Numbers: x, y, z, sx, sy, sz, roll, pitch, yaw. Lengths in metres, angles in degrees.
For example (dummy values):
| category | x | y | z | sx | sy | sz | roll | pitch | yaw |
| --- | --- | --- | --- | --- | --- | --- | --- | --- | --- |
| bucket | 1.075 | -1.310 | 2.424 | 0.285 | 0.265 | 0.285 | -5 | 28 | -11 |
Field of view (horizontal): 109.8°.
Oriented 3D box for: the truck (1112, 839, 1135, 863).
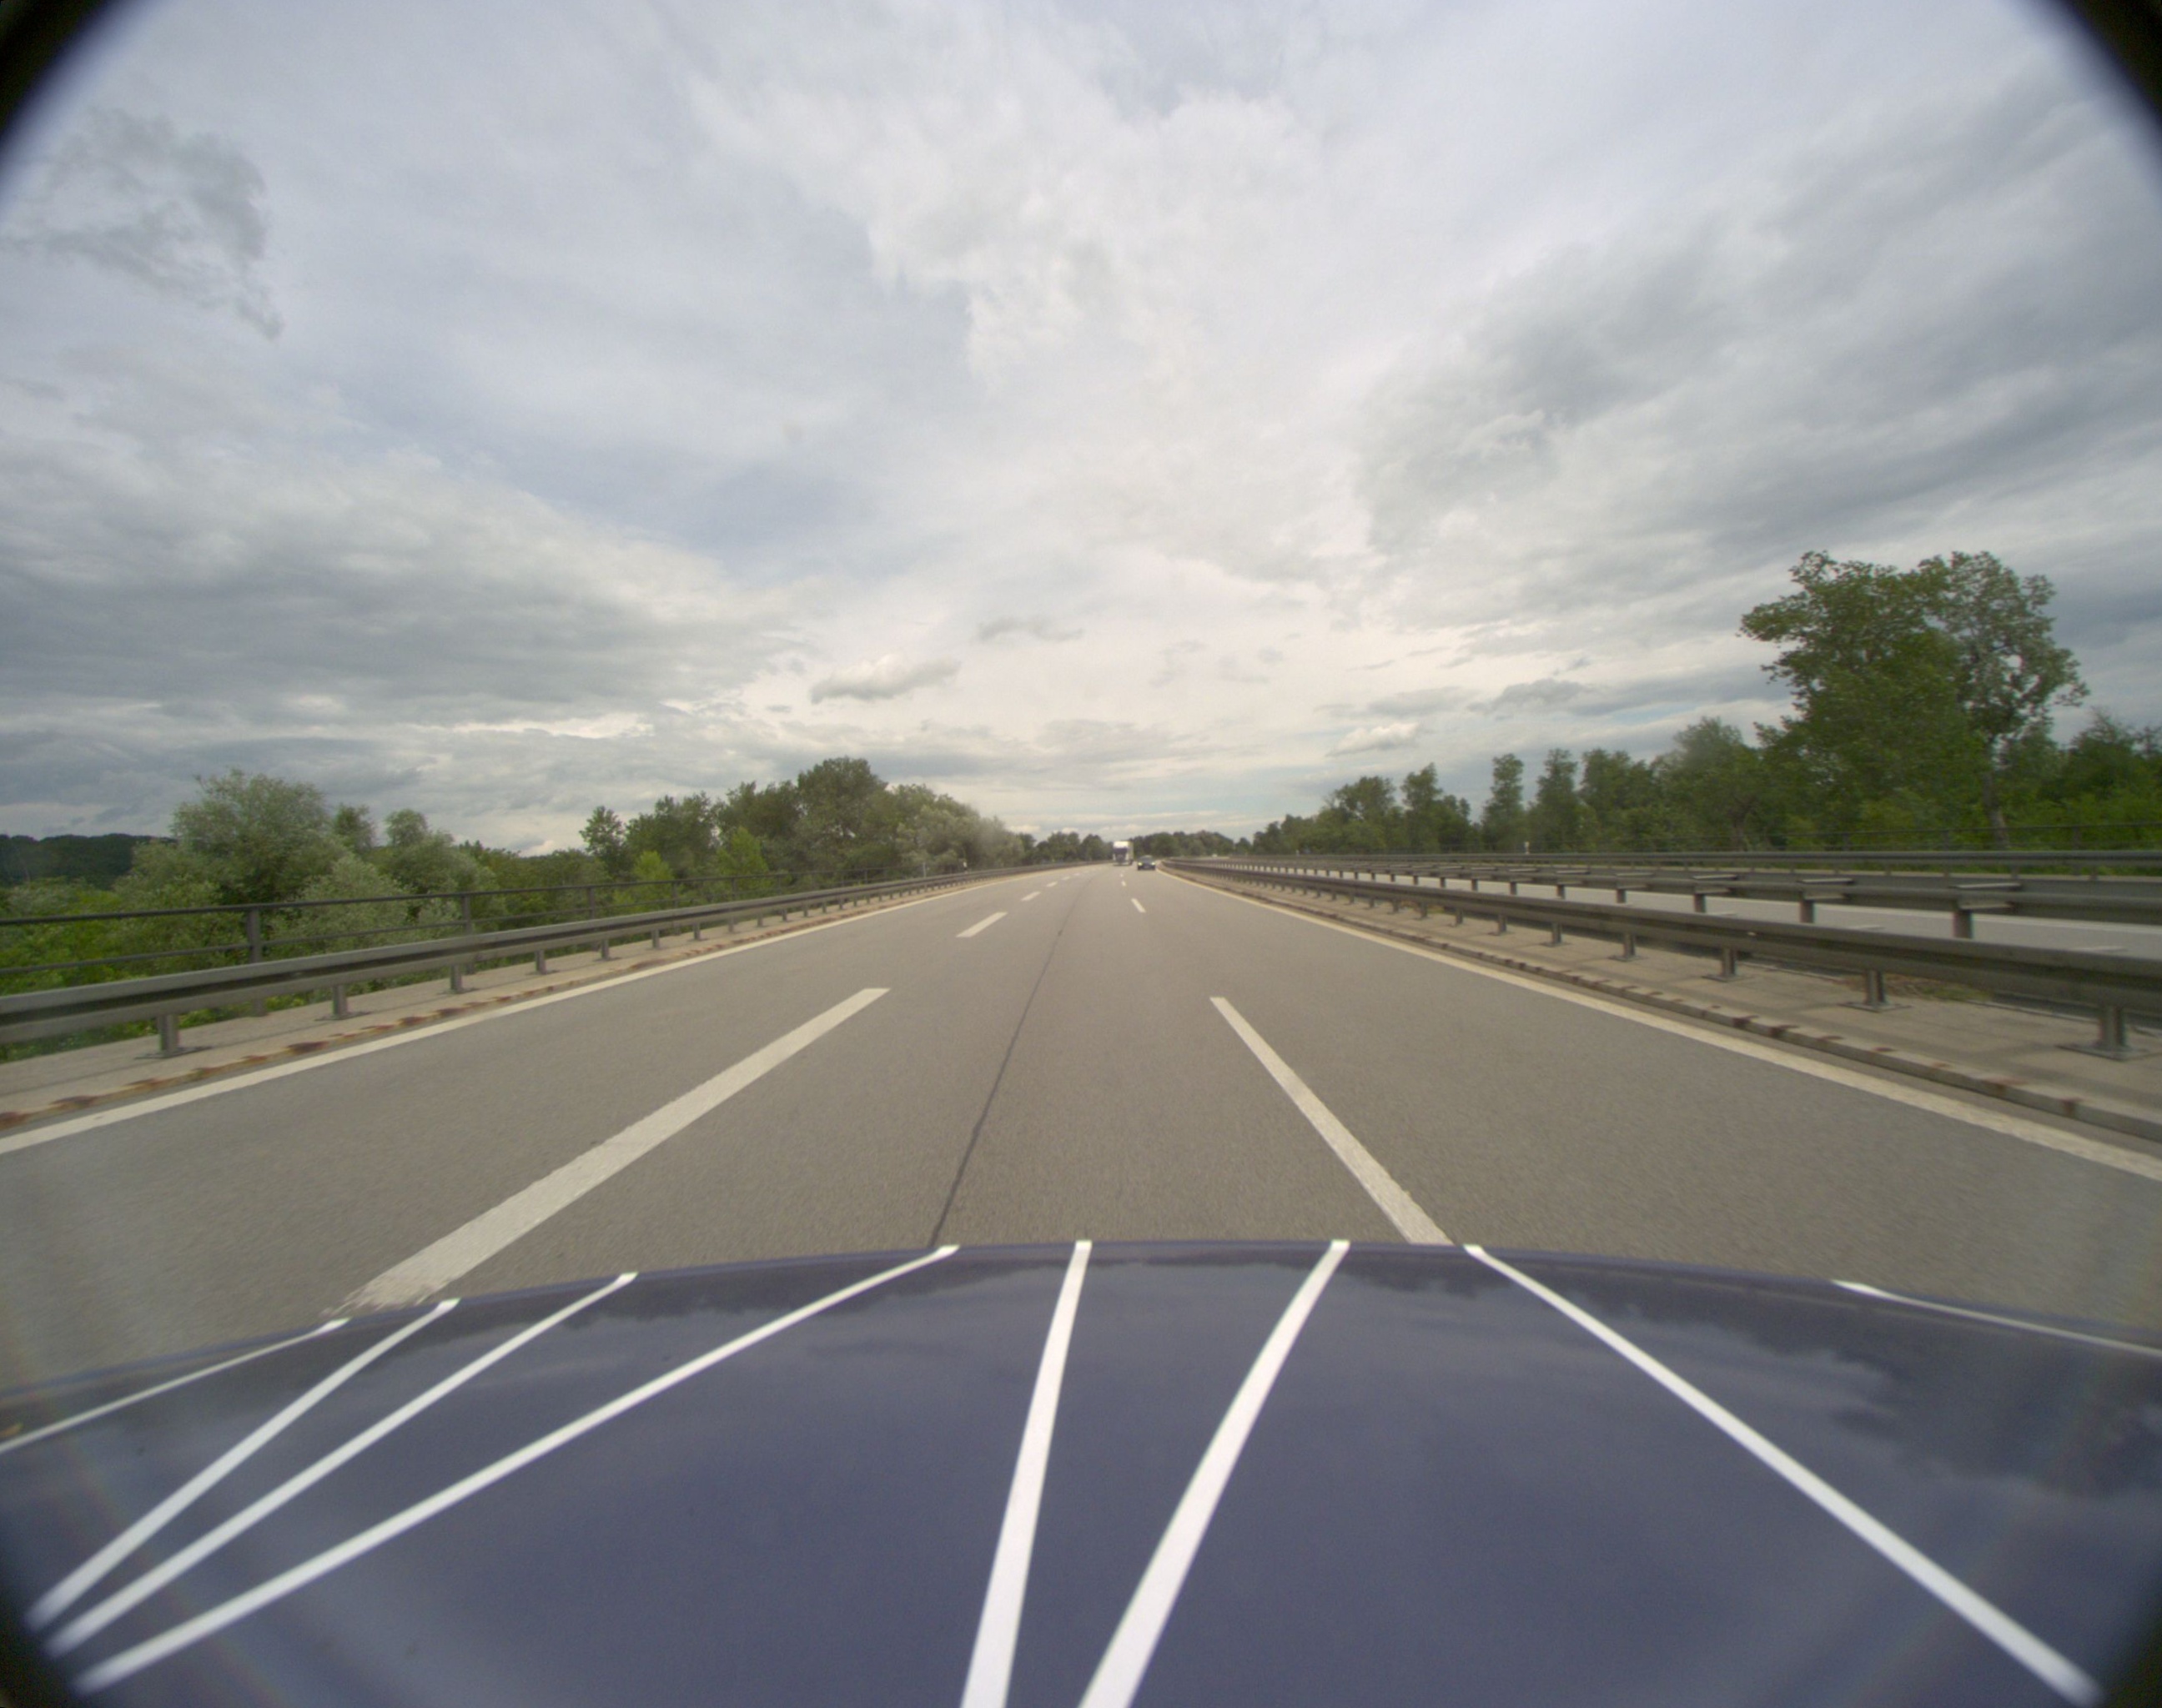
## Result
| category | x | y | z | sx | sy | sz | roll | pitch | yaw |
| --- | --- | --- | --- | --- | --- | --- | --- | --- | --- |
| truck | 7.053 | -0.475 | 125.914 | 3.067 | 3.868 | 6.005 | -2 | -1 | 10 |

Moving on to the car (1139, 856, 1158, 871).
| category | x | y | z | sx | sy | sz | roll | pitch | yaw |
| --- | --- | --- | --- | --- | --- | --- | --- | --- | --- |
| car | 6.956 | 0.982 | 78.550 | 1.774 | 1.474 | 4.699 | -1 | -1 | 3 |
